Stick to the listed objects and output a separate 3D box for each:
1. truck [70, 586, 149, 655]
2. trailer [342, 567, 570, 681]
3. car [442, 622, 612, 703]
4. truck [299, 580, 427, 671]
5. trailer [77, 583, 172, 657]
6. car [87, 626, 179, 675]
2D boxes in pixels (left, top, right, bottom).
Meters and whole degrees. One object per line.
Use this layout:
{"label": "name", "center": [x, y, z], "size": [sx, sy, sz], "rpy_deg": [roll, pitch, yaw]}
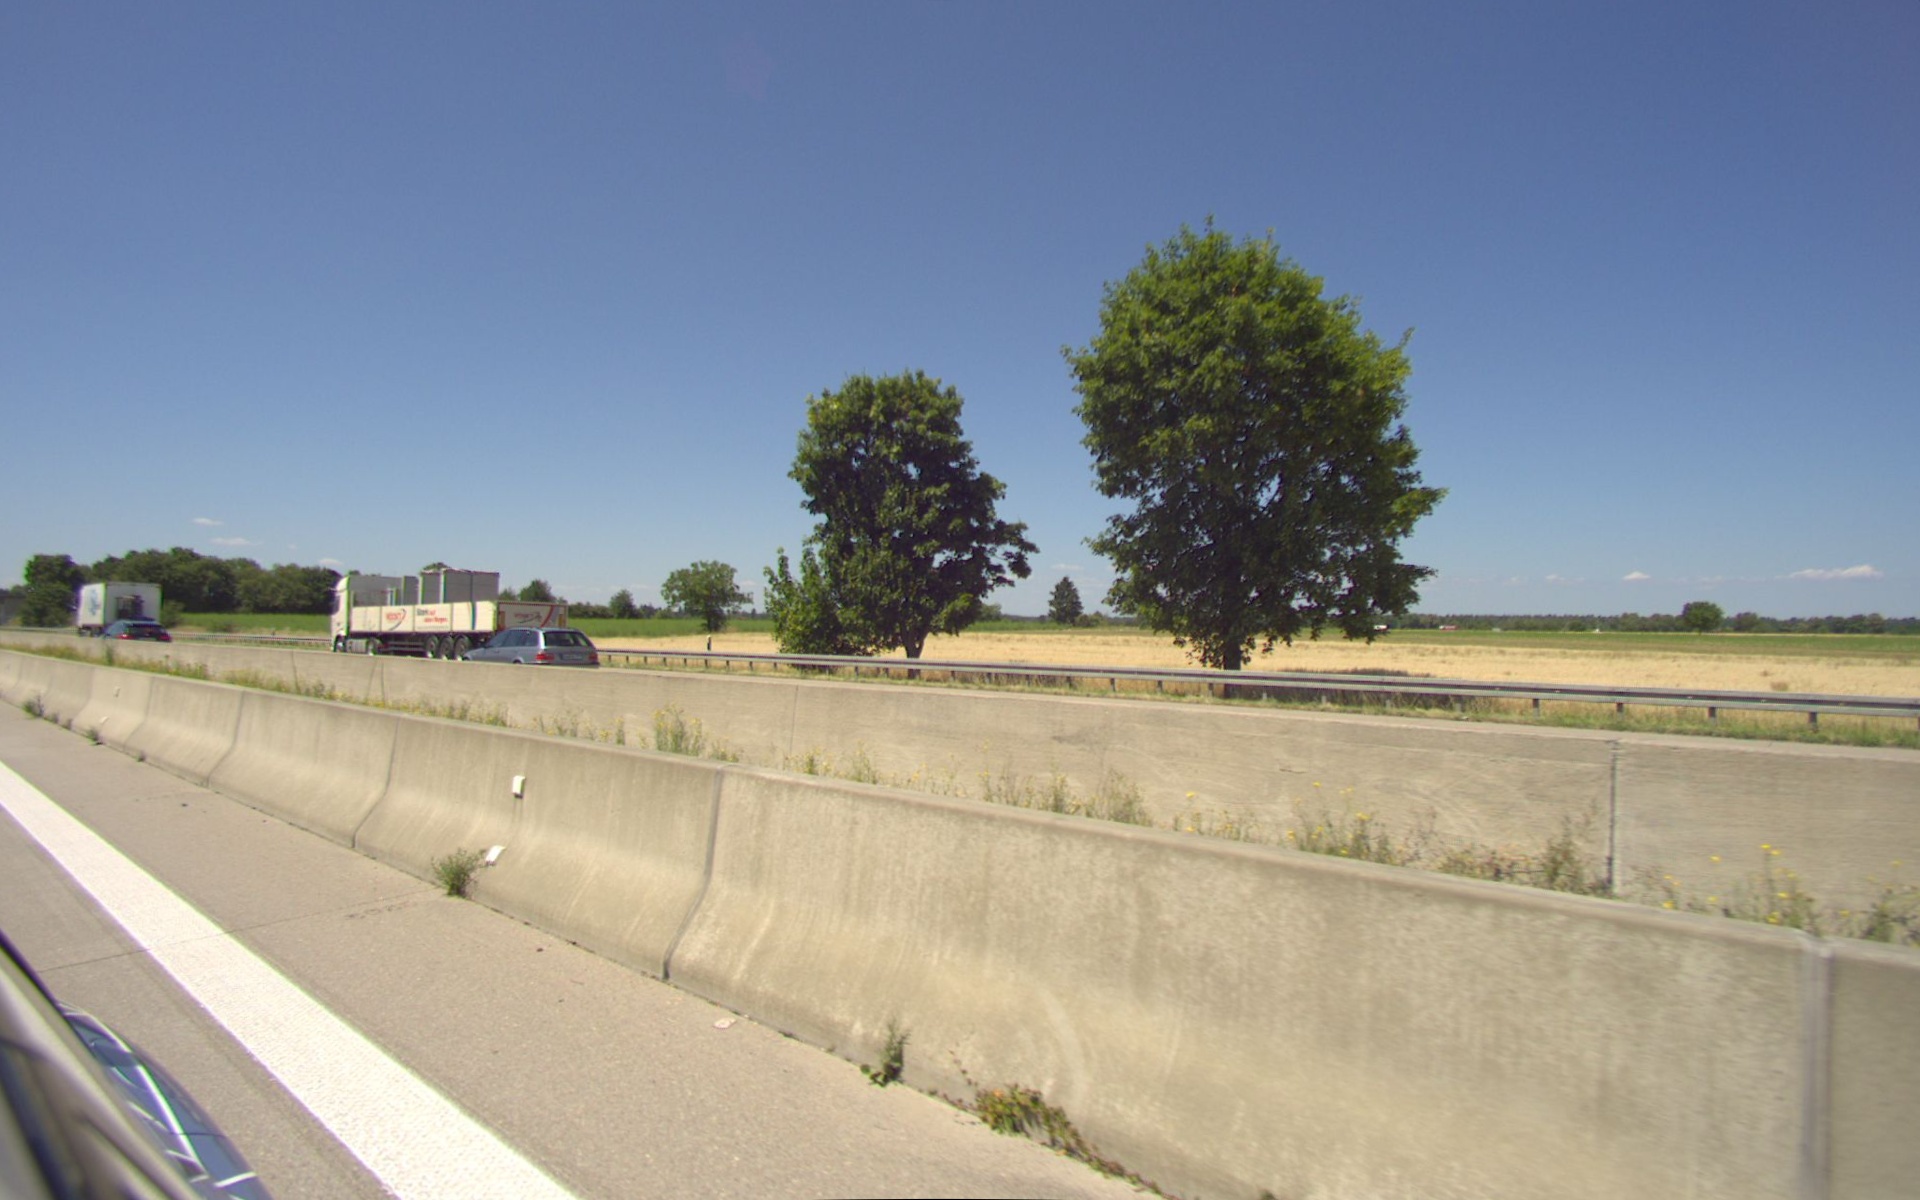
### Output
{"label": "truck", "center": [-51.375, 1.216, 61.089], "size": [5.042, 4.000, 2.871], "rpy_deg": [-1, -1, 41]}
{"label": "trailer", "center": [-19.575, 0.891, 38.509], "size": [13.743, 3.711, 2.774], "rpy_deg": [-1, -1, 41]}
{"label": "car", "center": [-10.607, 1.427, 24.594], "size": [5.127, 1.730, 1.942], "rpy_deg": [-1, -1, 44]}
{"label": "truck", "center": [-26.577, 1.091, 44.905], "size": [7.233, 3.715, 2.774], "rpy_deg": [-1, -1, 41]}
{"label": "trailer", "center": [-48.371, 1.141, 58.502], "size": [8.472, 4.000, 2.871], "rpy_deg": [-1, -1, 41]}
{"label": "car", "center": [-31.994, 1.904, 39.093], "size": [5.023, 1.730, 1.973], "rpy_deg": [-1, -1, 42]}
